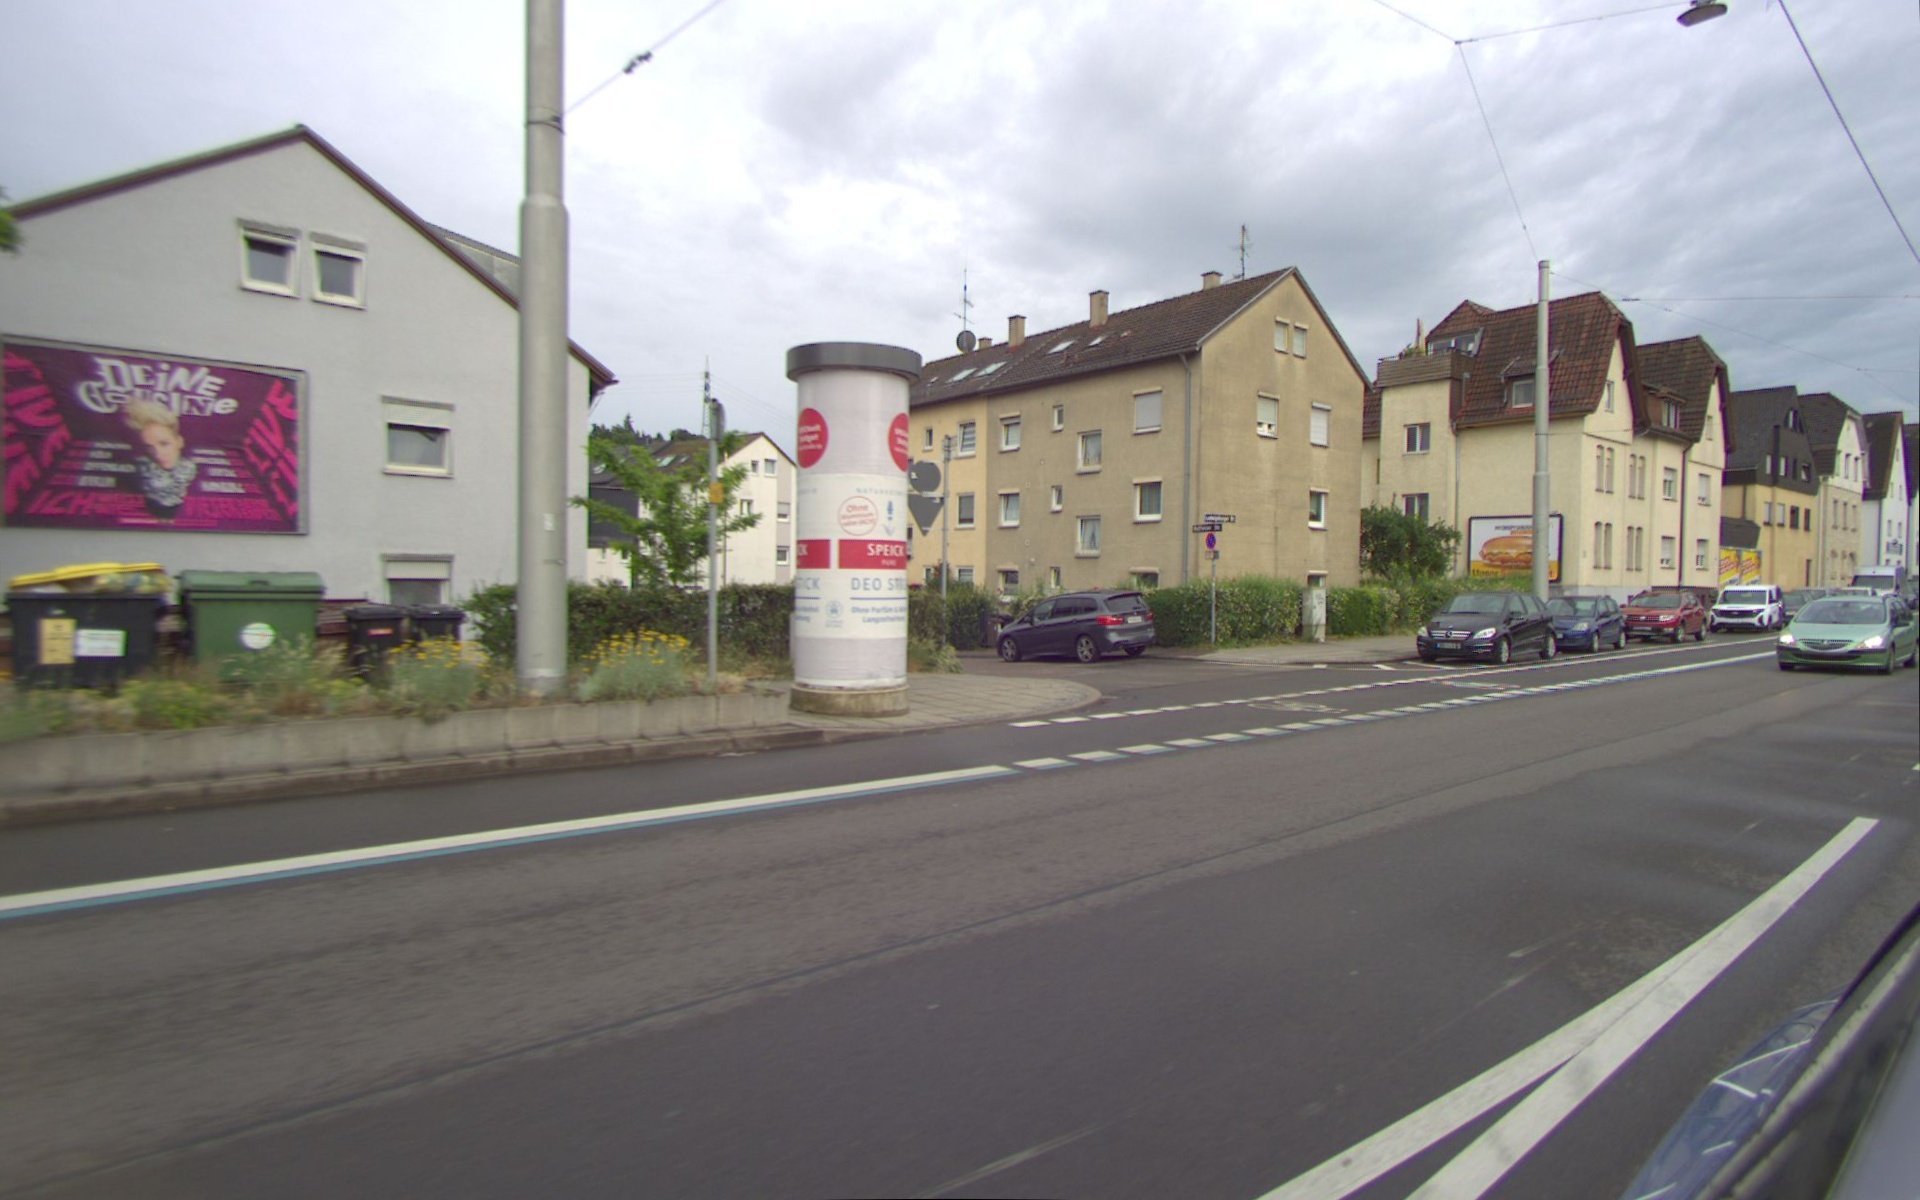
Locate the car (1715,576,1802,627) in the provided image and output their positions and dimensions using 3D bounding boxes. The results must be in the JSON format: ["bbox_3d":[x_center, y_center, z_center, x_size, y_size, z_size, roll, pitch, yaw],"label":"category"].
[{"bbox_3d":[29.955,0.010,37.912,4.445,1.778,1.849,-1,1,-42],"label":"car"}]

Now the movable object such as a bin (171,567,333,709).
[{"bbox_3d":[-7.868,0.373,11.244,1.279,1.435,1.312,-2,1,-43],"label":"movable object such as a bin"}]

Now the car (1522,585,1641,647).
[{"bbox_3d":[16.506,0.375,26.816,3.862,1.462,1.669,-2,1,-42],"label":"car"}]

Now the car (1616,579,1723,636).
[{"bbox_3d":[22.288,0.195,31.747,4.028,1.648,1.840,-2,1,-41],"label":"car"}]

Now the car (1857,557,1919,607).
[{"bbox_3d":[50.411,-1.022,54.709,5.818,2.530,2.043,-3,1,-40],"label":"car"}]

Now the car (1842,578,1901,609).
[{"bbox_3d":[46.093,-0.345,51.159,4.126,1.482,1.604,-2,1,-39],"label":"car"}]

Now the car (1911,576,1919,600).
[{"bbox_3d":[60.479,-0.783,62.802,4.129,1.362,1.725,-3,2,-41],"label":"car"}]

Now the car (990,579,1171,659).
[{"bbox_3d":[2.785,0.452,24.313,1.845,1.676,4.285,-3,0,-36],"label":"car"}]

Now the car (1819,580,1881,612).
[{"bbox_3d":[42.404,-0.191,48.198,3.724,1.419,1.604,-2,1,-39],"label":"car"}]

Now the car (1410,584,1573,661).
[{"bbox_3d":[12.086,0.439,22.893,4.362,1.553,1.840,-1,0,-41],"label":"car"}]

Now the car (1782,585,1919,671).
[{"bbox_3d":[18.381,0.492,20.593,4.129,1.467,1.886,-3,2,-41],"label":"car"}]

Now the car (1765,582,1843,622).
[{"bbox_3d":[34.527,0.046,41.371,4.063,1.530,1.690,-2,1,-39],"label":"car"}]

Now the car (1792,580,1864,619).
[{"bbox_3d":[38.591,-0.058,44.972,4.206,1.585,1.705,-3,1,-39],"label":"car"}]

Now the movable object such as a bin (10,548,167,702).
[{"bbox_3d":[-8.836,0.212,10.269,1.116,1.435,1.185,-2,1,-43],"label":"movable object such as a bin"}]

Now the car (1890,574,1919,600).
[{"bbox_3d":[55.618,-0.774,58.953,4.015,1.362,1.725,-3,2,-41],"label":"car"}]
